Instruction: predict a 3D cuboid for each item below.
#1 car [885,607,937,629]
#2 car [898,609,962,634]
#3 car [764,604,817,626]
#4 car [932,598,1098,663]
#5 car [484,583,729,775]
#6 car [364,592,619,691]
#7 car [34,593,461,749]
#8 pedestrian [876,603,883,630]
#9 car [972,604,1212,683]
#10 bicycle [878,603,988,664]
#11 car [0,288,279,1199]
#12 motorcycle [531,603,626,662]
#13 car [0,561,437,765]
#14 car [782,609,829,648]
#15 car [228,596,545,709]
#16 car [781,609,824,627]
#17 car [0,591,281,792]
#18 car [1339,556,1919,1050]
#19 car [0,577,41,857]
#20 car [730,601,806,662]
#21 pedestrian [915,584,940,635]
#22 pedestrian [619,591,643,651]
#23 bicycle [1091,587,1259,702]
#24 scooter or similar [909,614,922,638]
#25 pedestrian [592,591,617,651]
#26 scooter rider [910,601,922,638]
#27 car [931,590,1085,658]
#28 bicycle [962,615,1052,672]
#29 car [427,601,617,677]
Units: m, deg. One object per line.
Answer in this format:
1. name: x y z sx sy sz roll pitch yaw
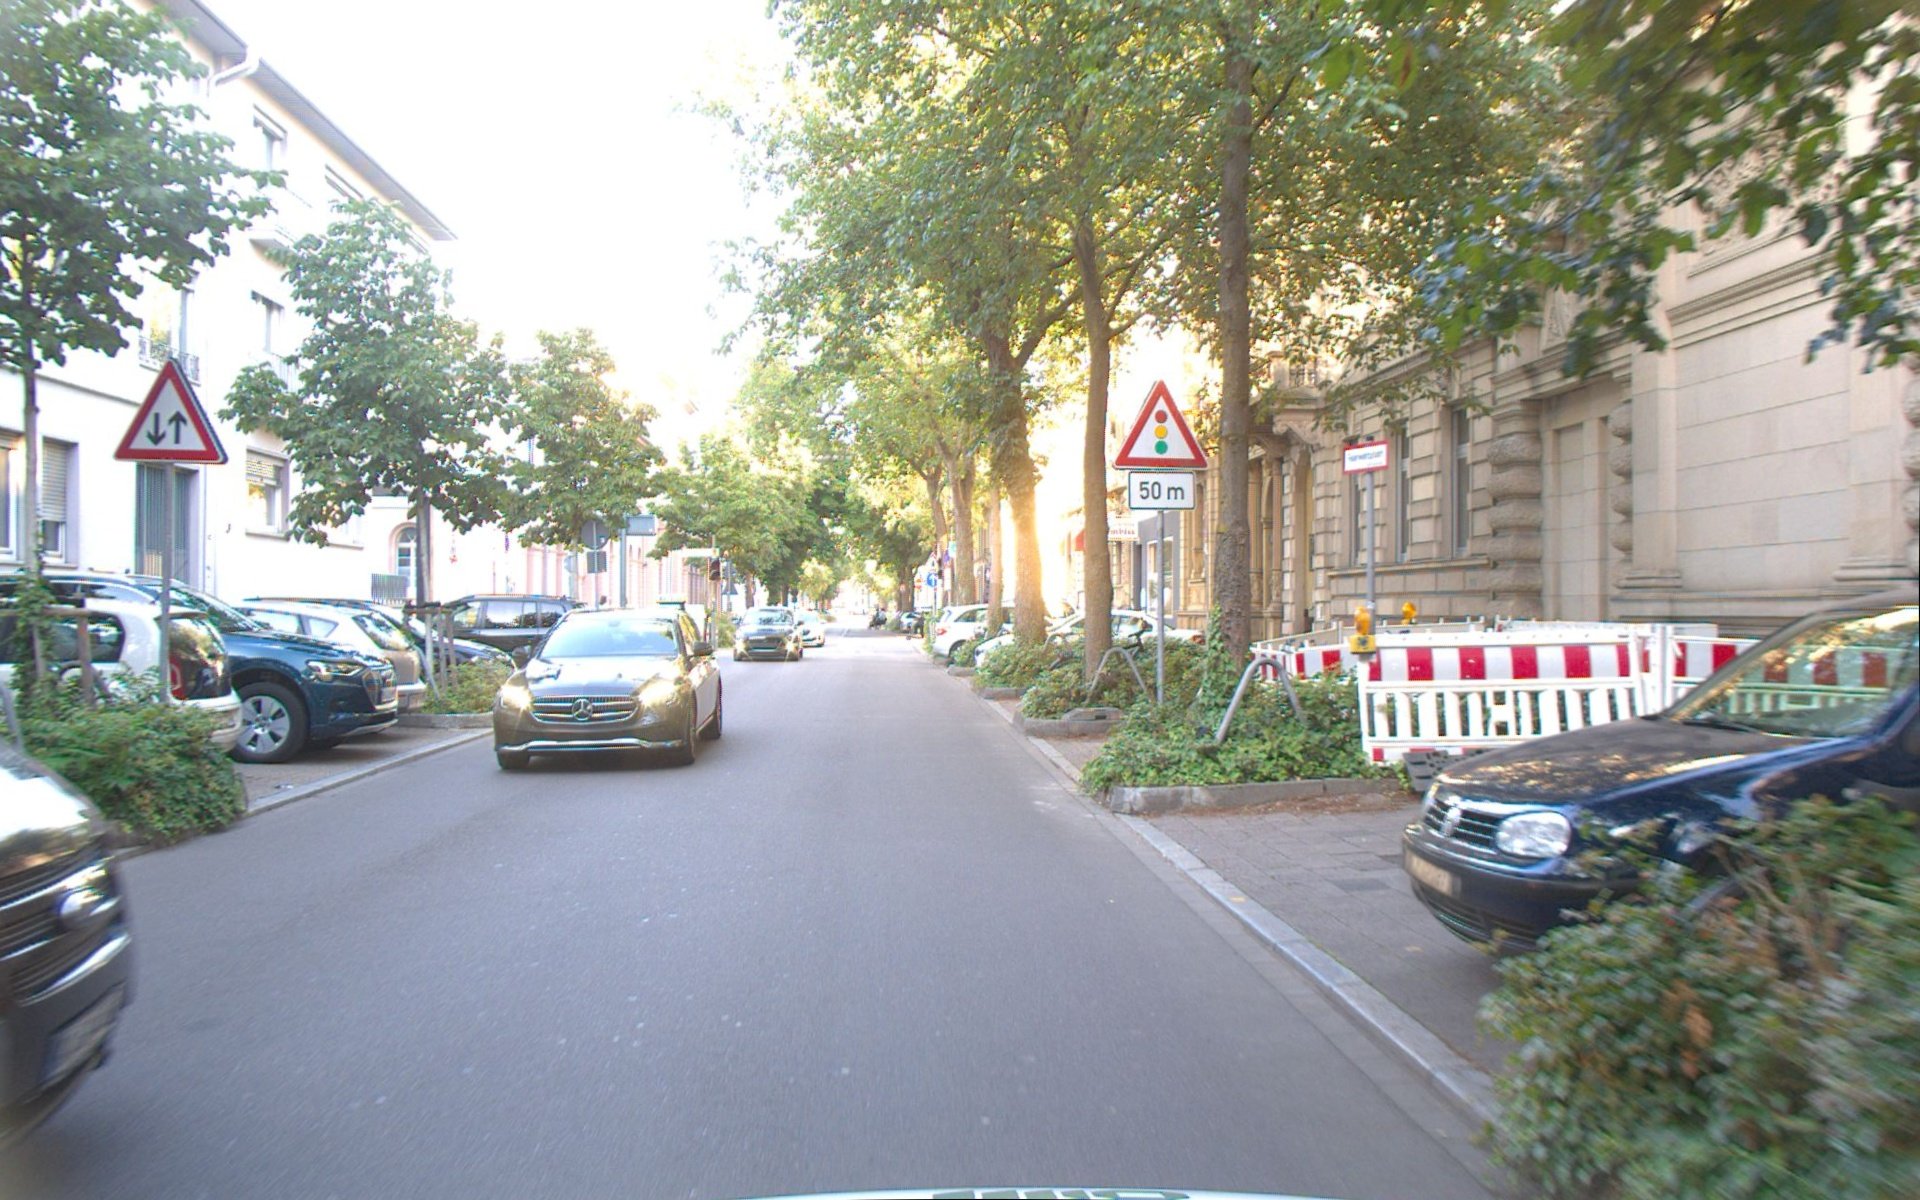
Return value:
1. car: -3.825 1.417 129.157 3.936 1.651 1.779 0 0 -5
2. car: -1.958 1.403 108.545 4.109 1.506 1.851 -1 0 -4
3. car: -16.539 1.459 161.592 4.964 2.119 2.261 0 0 -4
4. car: 1.377 0.758 42.478 4.138 1.587 1.970 -1 0 0
5. car: -3.455 0.709 16.997 1.840 1.669 4.642 -1 0 -4
6. car: -8.332 0.729 29.696 4.011 1.660 1.935 1 0 -3
7. car: -7.871 0.761 18.540 3.946 1.520 1.780 2 -1 0
8. pedestrian: -6.212 1.295 127.487 0.492 2.049 0.620 1 -1 -2
9. car: 2.518 0.828 32.258 4.491 1.462 1.924 0 0 -2
10. bicycle: -0.761 0.946 46.873 3.054 1.692 0.657 1 -1 -8
11. car: -4.335 0.416 3.645 4.903 2.025 2.183 0 0 -13
12. motorcycle: -9.498 0.807 41.227 2.103 1.444 0.968 -1 -1 18
13. car: -7.726 0.574 16.139 4.573 1.796 2.155 1 -1 -4
14. car: -6.389 1.163 68.854 1.840 1.576 4.271 -1 0 -4
15. car: -8.306 0.755 24.239 3.993 1.465 1.754 2 -1 -3
16. car: -18.781 2.178 197.813 4.963 2.119 2.262 0 0 -3
17. car: -7.811 0.680 13.493 3.769 1.476 1.853 1 1 -4
18. car: 3.773 0.583 6.312 4.140 1.507 1.853 -3 0 -4
19. car: -7.516 0.572 8.840 4.072 1.619 1.822 3 -1 -4
20. car: -5.282 0.842 45.931 1.840 1.576 4.272 -1 0 -3
21. pedestrian: -1.407 0.432 71.680 1.022 2.184 1.063 1 -1 -3
22. pedestrian: -10.418 0.670 52.381 0.542 1.883 0.612 0 -1 11
23. bicycle: 2.694 0.554 20.783 2.006 1.384 0.508 2 0 -6
24. scooter or similar: -2.168 1.290 80.799 0.491 1.165 1.251 0 -1 7
25. pedestrian: -11.273 0.666 52.440 0.542 1.883 0.612 0 -1 12
26. scooter rider: -2.162 0.955 80.856 0.484 1.823 0.875 0 -1 6
27. car: 1.418 0.716 50.104 4.452 1.948 1.948 -1 0 -6
28. bicycle: 1.075 0.985 37.750 1.987 1.225 0.486 -2 0 -16
29. car: -9.471 0.830 35.964 3.668 1.484 1.733 2 -1 -5
